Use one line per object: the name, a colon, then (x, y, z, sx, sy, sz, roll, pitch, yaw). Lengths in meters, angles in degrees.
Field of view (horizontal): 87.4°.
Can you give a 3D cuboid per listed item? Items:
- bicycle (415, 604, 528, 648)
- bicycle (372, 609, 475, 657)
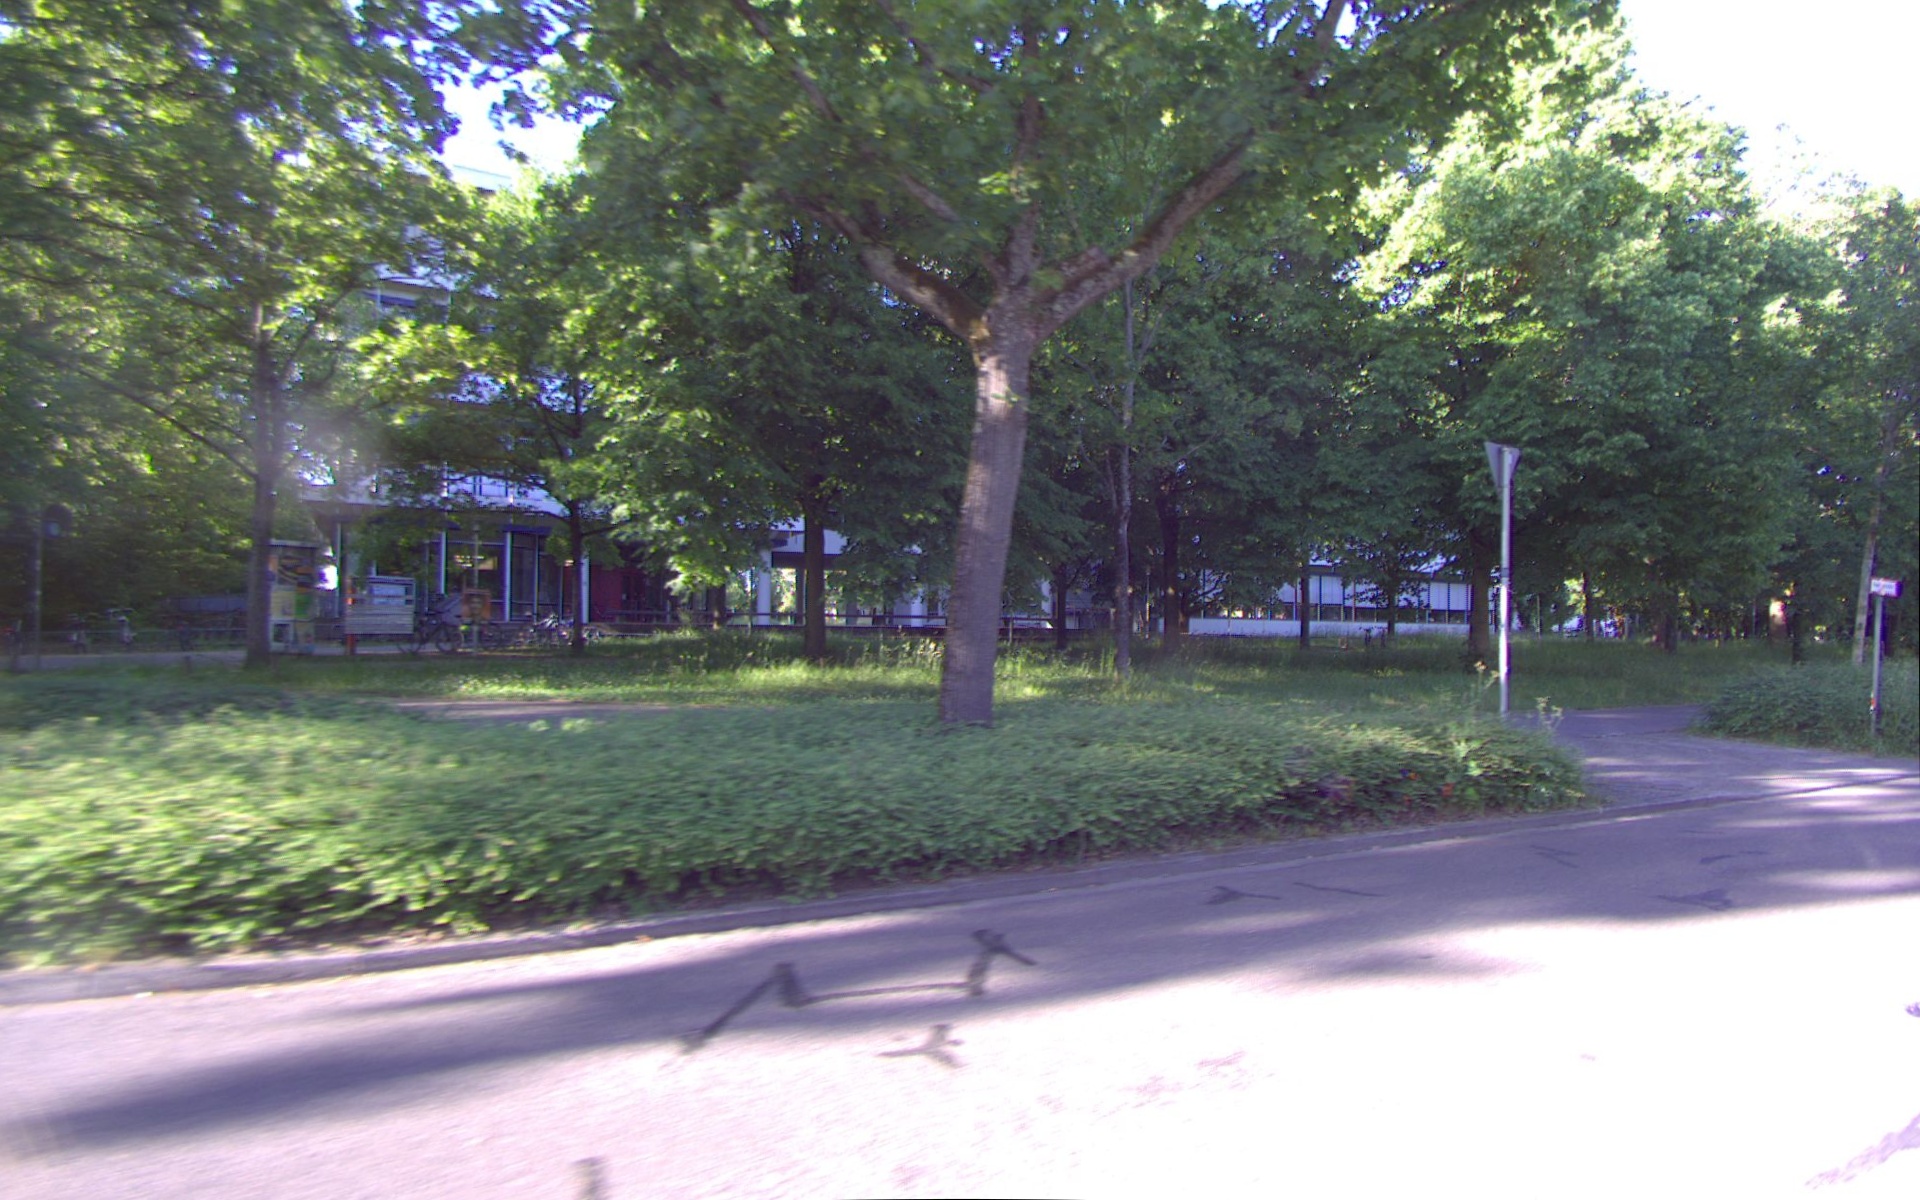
bicycle: (-12.691, 0.675, 26.163, 2.590, 1.086, 0.535, 1, 4, -14)
bicycle: (-13.253, 0.805, 24.814, 2.380, 1.086, 0.537, 1, 2, 8)
